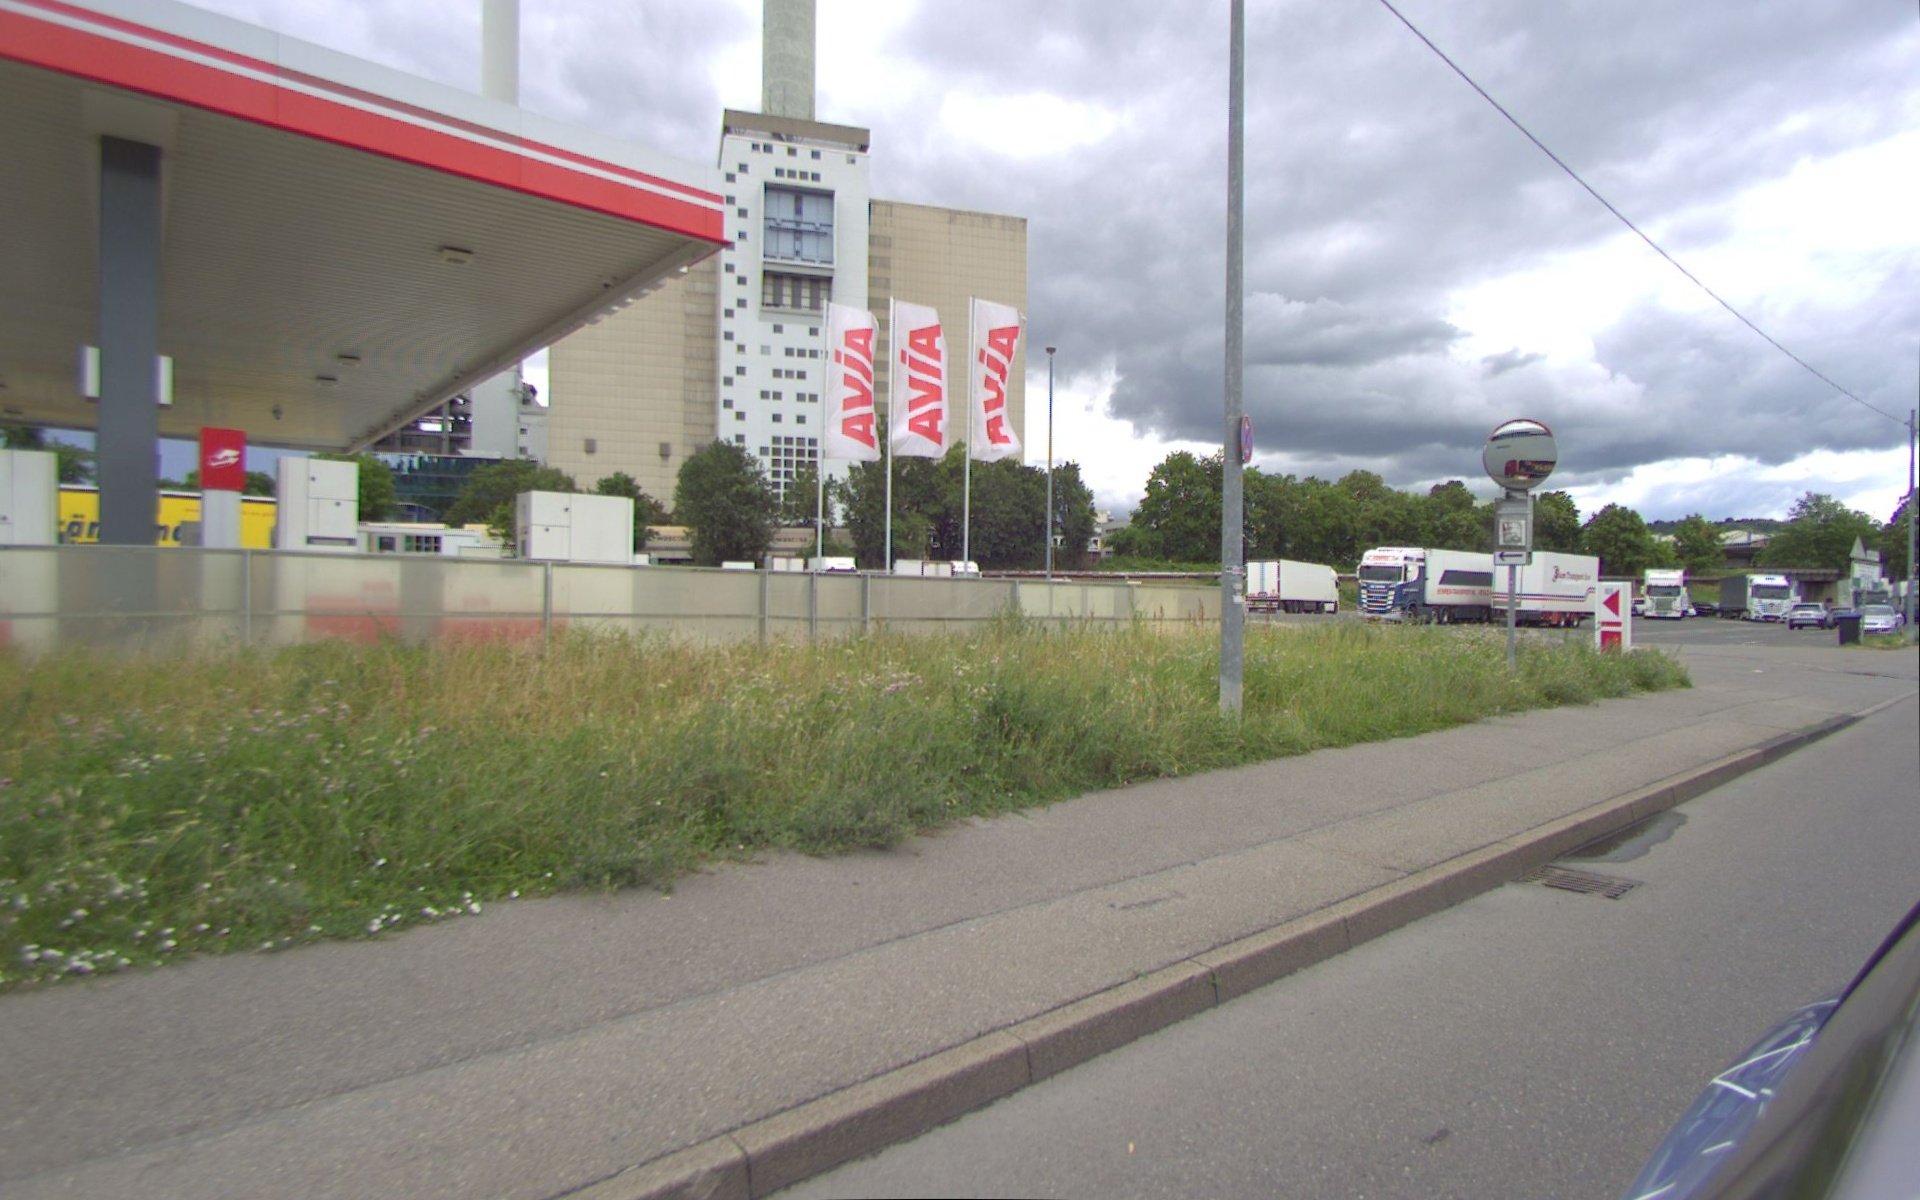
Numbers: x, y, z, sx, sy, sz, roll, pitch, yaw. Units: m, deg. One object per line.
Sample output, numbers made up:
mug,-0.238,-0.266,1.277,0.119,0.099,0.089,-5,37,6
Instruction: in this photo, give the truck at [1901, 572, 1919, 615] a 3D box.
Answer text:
truck,84.840,-0.498,88.422,2.856,3.675,6.672,2,1,35

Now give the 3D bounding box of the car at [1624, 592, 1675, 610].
car,76.076,0.070,111.728,1.959,1.916,4.728,1,0,-8

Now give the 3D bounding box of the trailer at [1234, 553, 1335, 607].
trailer,25.940,-1.475,80.186,3.620,3.960,13.559,1,1,36

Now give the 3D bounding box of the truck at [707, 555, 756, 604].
truck,-18.193,-1.603,80.692,3.634,3.602,7.271,1,0,-12

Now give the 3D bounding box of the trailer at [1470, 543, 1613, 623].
trailer,31.939,-0.899,55.361,10.213,4.016,2.966,0,2,-38

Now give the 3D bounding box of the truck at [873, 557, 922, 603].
truck,-6.145,-1.896,98.158,3.634,4.225,7.271,1,0,-12

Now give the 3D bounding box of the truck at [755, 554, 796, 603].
truck,-17.415,-1.986,95.271,3.474,4.488,6.667,0,0,-13

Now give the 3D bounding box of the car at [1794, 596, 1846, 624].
car,51.709,0.592,60.839,3.930,1.591,1.767,0,-2,-41

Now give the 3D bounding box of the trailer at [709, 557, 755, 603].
trailer,-20.232,-1.733,89.626,3.566,3.591,18.538,1,1,-13

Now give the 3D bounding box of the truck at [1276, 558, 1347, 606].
truck,29.730,-1.479,85.441,3.611,3.928,7.159,1,0,37

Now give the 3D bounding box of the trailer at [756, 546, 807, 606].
trailer,-15.445,-1.911,86.287,3.484,4.557,18.326,0,1,-12

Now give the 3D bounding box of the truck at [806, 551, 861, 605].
truck,-10.385,-1.732,82.311,3.633,4.172,7.271,1,0,-14

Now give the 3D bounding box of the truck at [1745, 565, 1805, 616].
truck,69.472,-0.816,86.401,2.851,4.146,6.685,2,1,30

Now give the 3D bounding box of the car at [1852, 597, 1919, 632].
car,41.718,0.616,45.535,4.479,1.482,1.777,0,0,-40

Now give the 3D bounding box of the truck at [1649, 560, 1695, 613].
truck,58.415,-1.077,83.010,2.857,4.146,6.669,2,1,36

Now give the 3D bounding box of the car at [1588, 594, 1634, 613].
car,71.227,0.362,110.777,1.958,1.896,4.007,1,1,-10

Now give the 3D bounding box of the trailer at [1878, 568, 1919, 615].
trailer,88.326,-0.748,93.685,2.820,4.146,13.234,2,1,34

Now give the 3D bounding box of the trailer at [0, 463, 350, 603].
trailer,-31.198,-2.336,37.890,14.054,4.782,3.005,0,1,-41

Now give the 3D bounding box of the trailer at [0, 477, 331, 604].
trailer,-29.621,-1.911,34.080,14.054,3.964,3.005,0,1,-41

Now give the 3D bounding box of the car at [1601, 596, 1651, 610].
car,73.680,0.353,112.042,1.959,1.458,4.728,1,0,-8

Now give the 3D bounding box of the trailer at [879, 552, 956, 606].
trailer,-4.068,-1.769,89.022,3.566,4.225,18.537,1,1,-12

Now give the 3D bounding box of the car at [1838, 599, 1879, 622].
car,61.871,0.709,69.659,3.979,1.514,1.497,0,0,-39

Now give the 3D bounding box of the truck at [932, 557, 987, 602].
truck,-0.132,-1.921,95.239,3.634,4.014,7.270,1,0,-12

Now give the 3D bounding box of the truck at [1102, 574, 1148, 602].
truck,16.290,-1.193,100.414,2.233,2.521,5.972,1,2,-14

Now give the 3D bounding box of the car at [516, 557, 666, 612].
car,-13.631,-0.543,37.569,4.864,1.936,1.987,0,1,-41

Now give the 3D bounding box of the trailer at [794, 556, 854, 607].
trailer,-12.500,-1.629,91.283,3.566,4.141,18.538,1,1,-13

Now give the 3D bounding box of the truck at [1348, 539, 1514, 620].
truck,26.178,-1.091,55.766,12.837,4.016,3.082,0,2,-40

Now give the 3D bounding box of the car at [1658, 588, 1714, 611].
car,81.269,-0.054,113.406,2.322,2.480,4.927,1,0,-8

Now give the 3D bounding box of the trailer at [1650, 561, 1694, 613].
trailer,61.926,-1.106,87.948,2.823,4.146,13.224,2,1,36

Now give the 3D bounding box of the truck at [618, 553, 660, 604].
truck,-29.530,-1.924,93.369,3.474,4.488,6.668,0,0,-15

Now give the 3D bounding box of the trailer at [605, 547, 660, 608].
trailer,-27.082,-1.783,84.394,3.484,4.557,18.328,0,1,-15

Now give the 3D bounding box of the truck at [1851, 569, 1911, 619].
truck,79.942,-0.525,87.952,2.856,4.063,6.672,2,1,35

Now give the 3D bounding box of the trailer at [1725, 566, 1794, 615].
trailer,73.000,-0.882,92.648,2.816,4.146,13.256,2,1,29

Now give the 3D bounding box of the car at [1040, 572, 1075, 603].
car,9.276,-1.214,96.527,2.065,2.872,5.095,1,1,-9

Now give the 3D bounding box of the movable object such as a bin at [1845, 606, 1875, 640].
movable object such as a bin,29.755,0.740,33.444,0.714,1.095,0.652,1,0,44

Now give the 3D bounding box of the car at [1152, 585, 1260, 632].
car,9.106,0.268,37.299,4.142,1.590,1.768,0,2,-41
